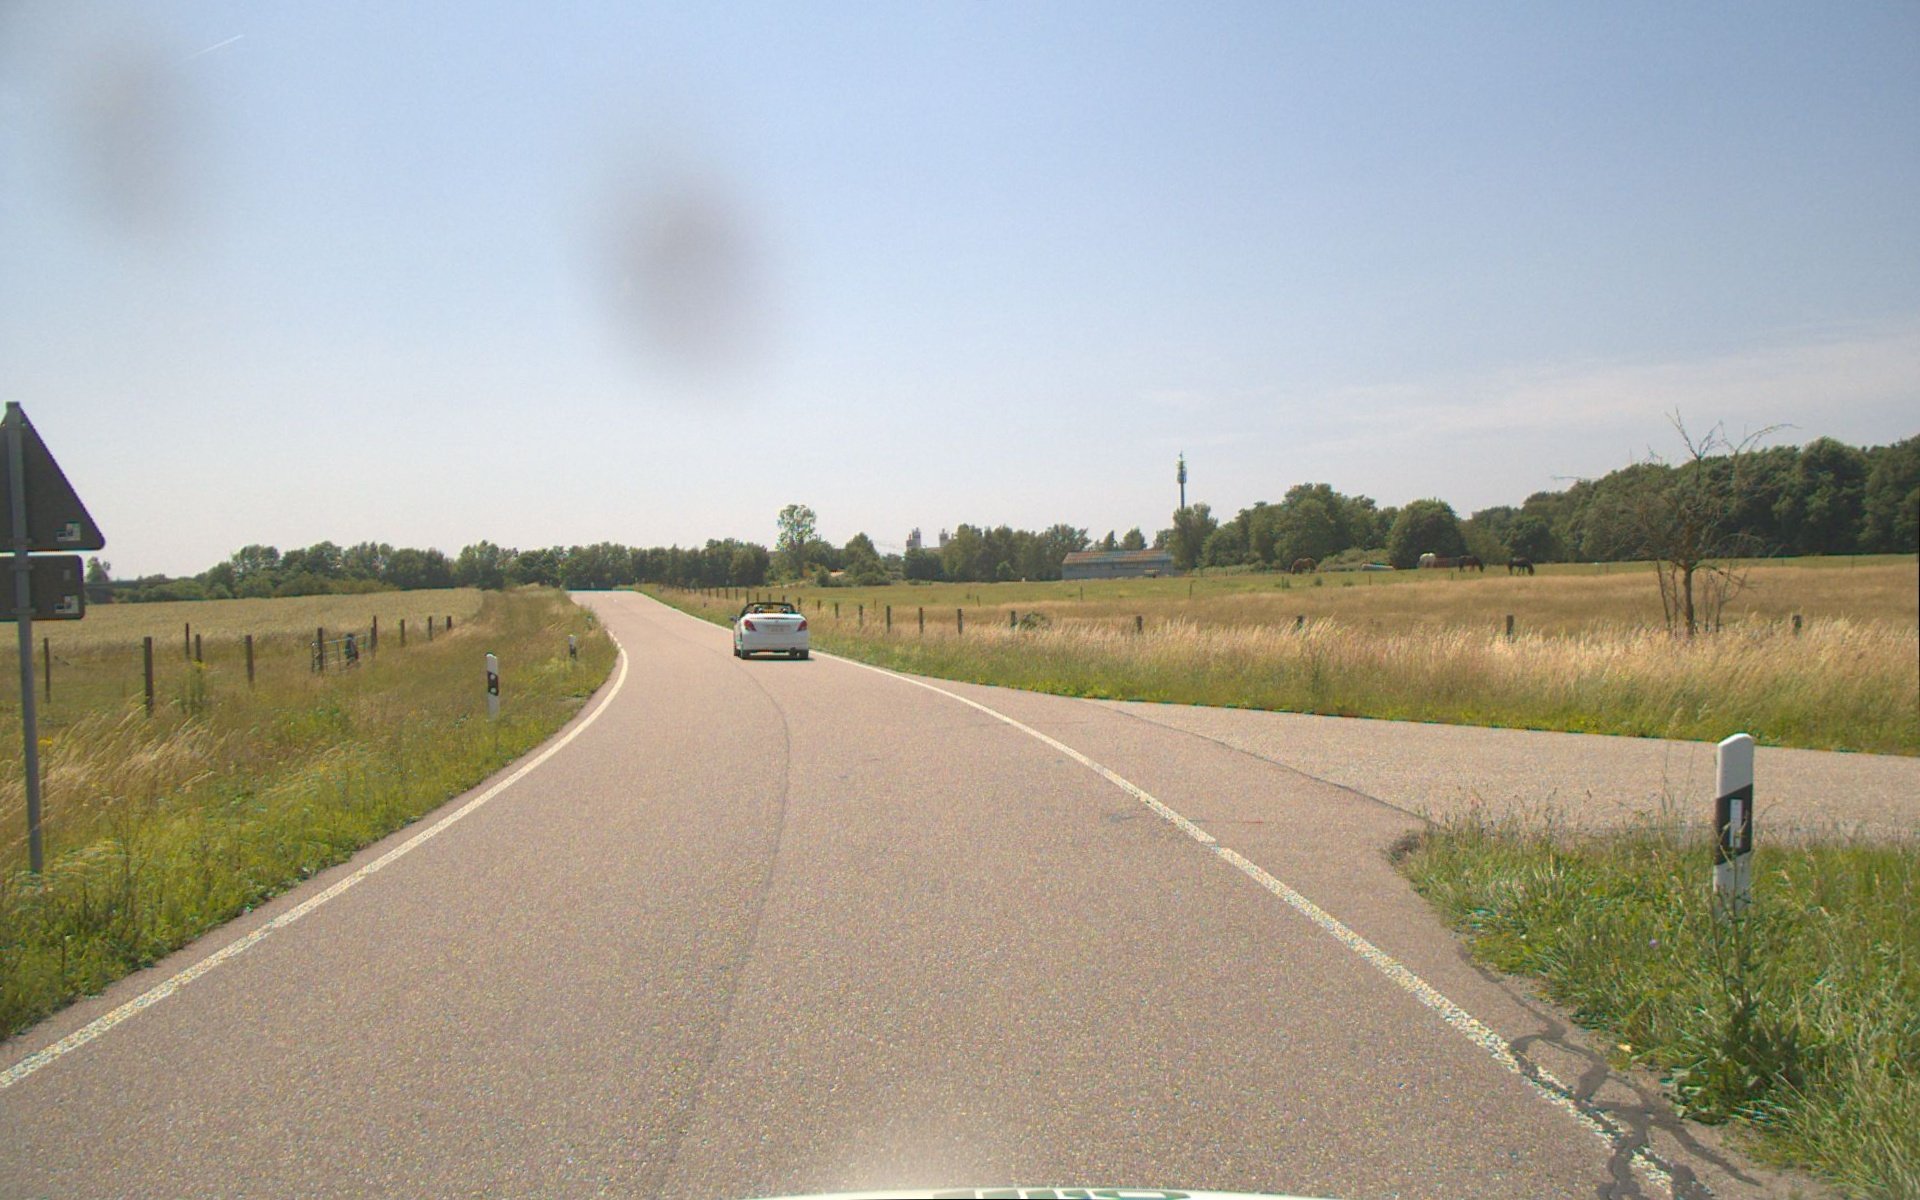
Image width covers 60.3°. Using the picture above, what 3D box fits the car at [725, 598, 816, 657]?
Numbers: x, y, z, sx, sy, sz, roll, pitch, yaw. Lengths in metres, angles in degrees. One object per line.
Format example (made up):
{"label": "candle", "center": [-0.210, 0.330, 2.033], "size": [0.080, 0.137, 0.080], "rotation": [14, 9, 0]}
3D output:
{"label": "car", "center": [-4.835, 0.673, 41.796], "size": [1.819, 1.403, 3.985], "rotation": [0, 0, -14]}
